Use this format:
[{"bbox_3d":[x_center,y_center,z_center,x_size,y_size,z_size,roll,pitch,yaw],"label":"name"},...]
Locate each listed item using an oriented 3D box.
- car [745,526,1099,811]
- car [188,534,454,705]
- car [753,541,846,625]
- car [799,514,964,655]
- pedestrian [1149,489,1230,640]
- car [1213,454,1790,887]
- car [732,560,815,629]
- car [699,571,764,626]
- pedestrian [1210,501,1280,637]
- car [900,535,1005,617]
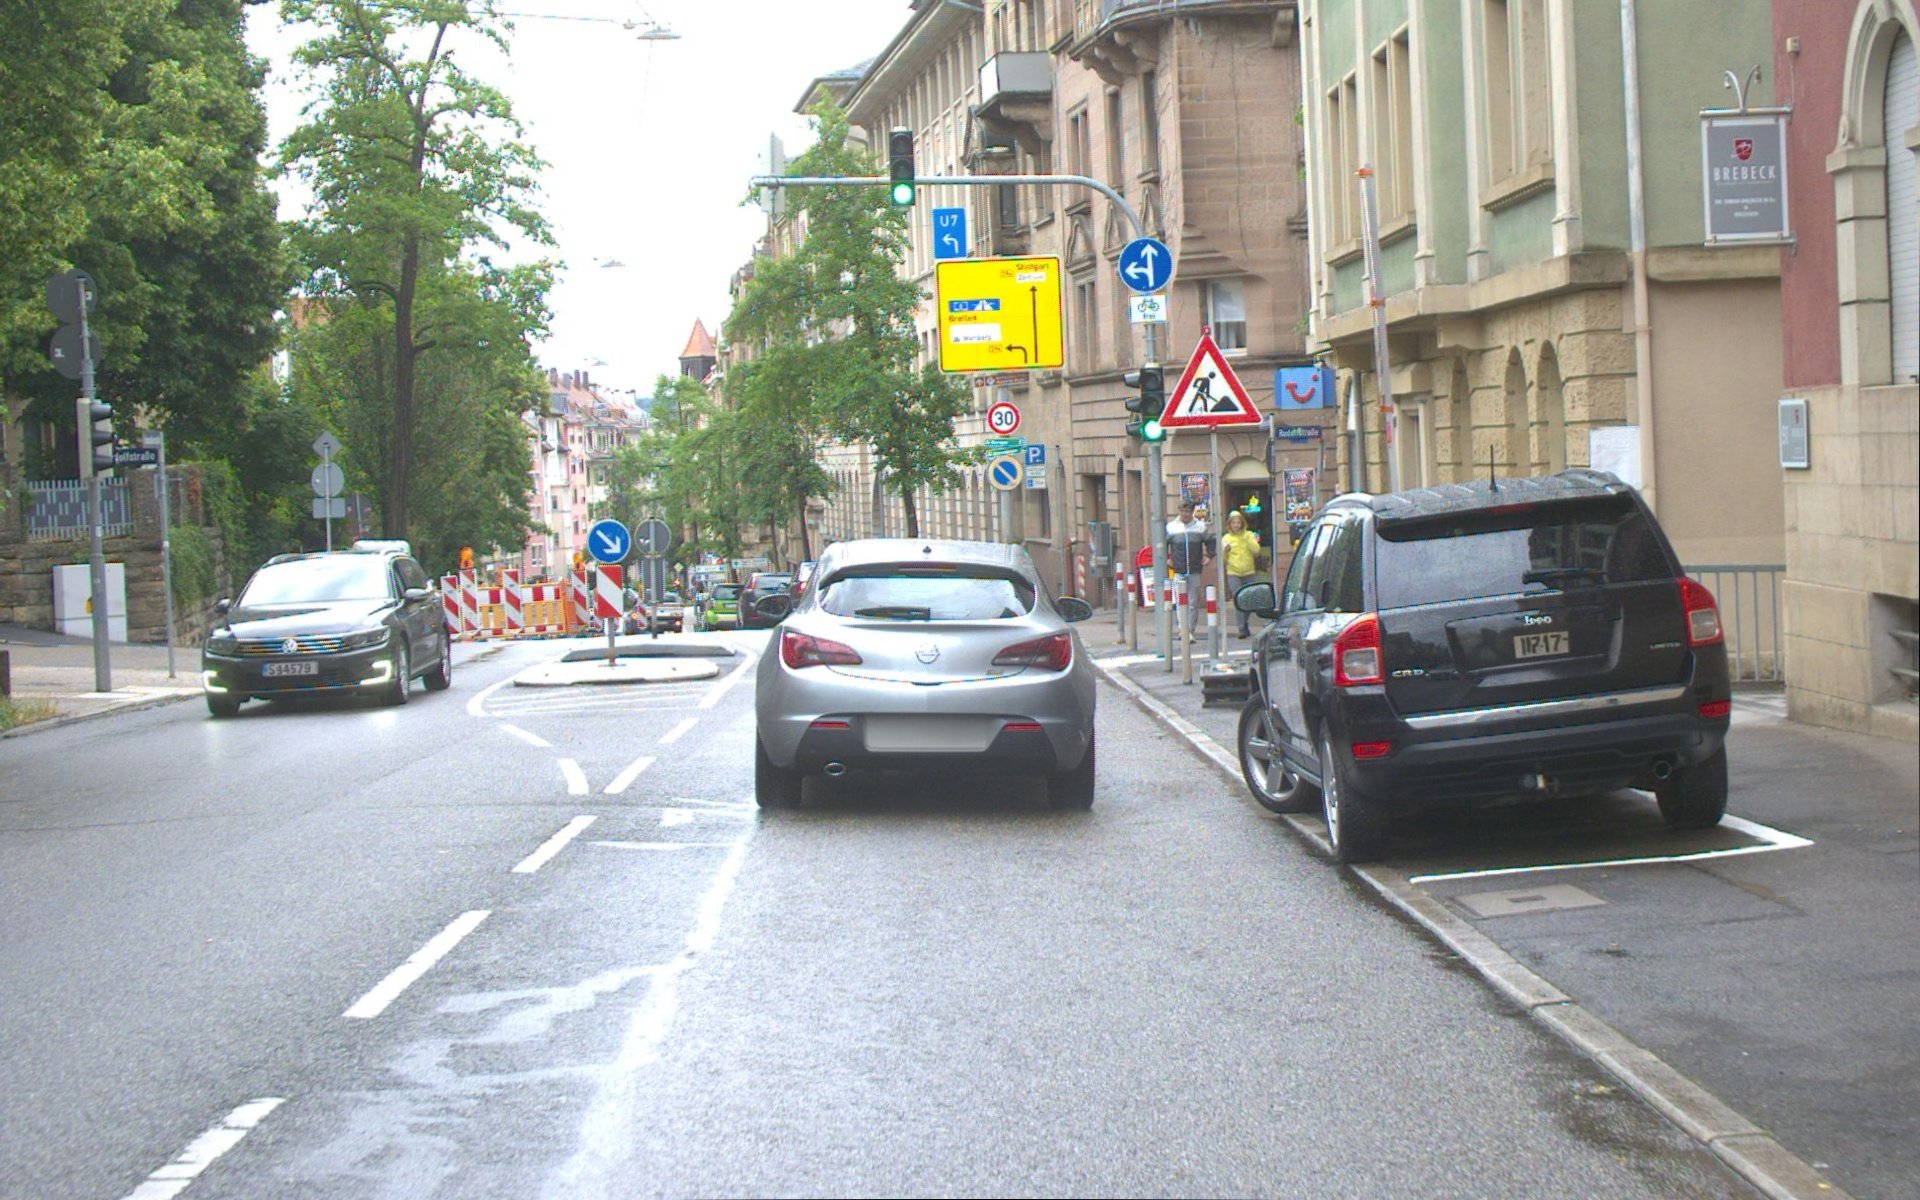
[{"bbox_3d":[-0.179,0.350,19.656,1.811,1.444,3.869,-1,0,1],"label":"car"},{"bbox_3d":[-6.076,0.140,33.159,1.815,1.512,4.548,-1,1,-1],"label":"car"},{"bbox_3d":[-3.257,-0.324,69.319,1.656,1.537,3.666,-4,0,-4],"label":"car"},{"bbox_3d":[-0.857,-0.175,39.118,1.772,1.499,3.869,-1,0,0],"label":"car"},{"bbox_3d":[2.790,-0.434,41.681,0.718,1.768,0.665,-3,2,19],"label":"pedestrian"},{"bbox_3d":[2.393,0.283,16.443,1.877,1.624,4.697,-5,0,0],"label":"car"},{"bbox_3d":[-4.606,-0.117,84.563,1.656,1.537,3.666,-4,0,-7],"label":"car"},{"bbox_3d":[-6.996,-0.029,105.131,1.656,1.537,3.666,-4,0,-7],"label":"car"},{"bbox_3d":[3.440,-0.380,41.461,0.597,1.579,0.665,-3,2,18],"label":"pedestrian"},{"bbox_3d":[-0.183,-0.485,71.513,1.656,1.537,3.666,-4,0,-7],"label":"car"}]
